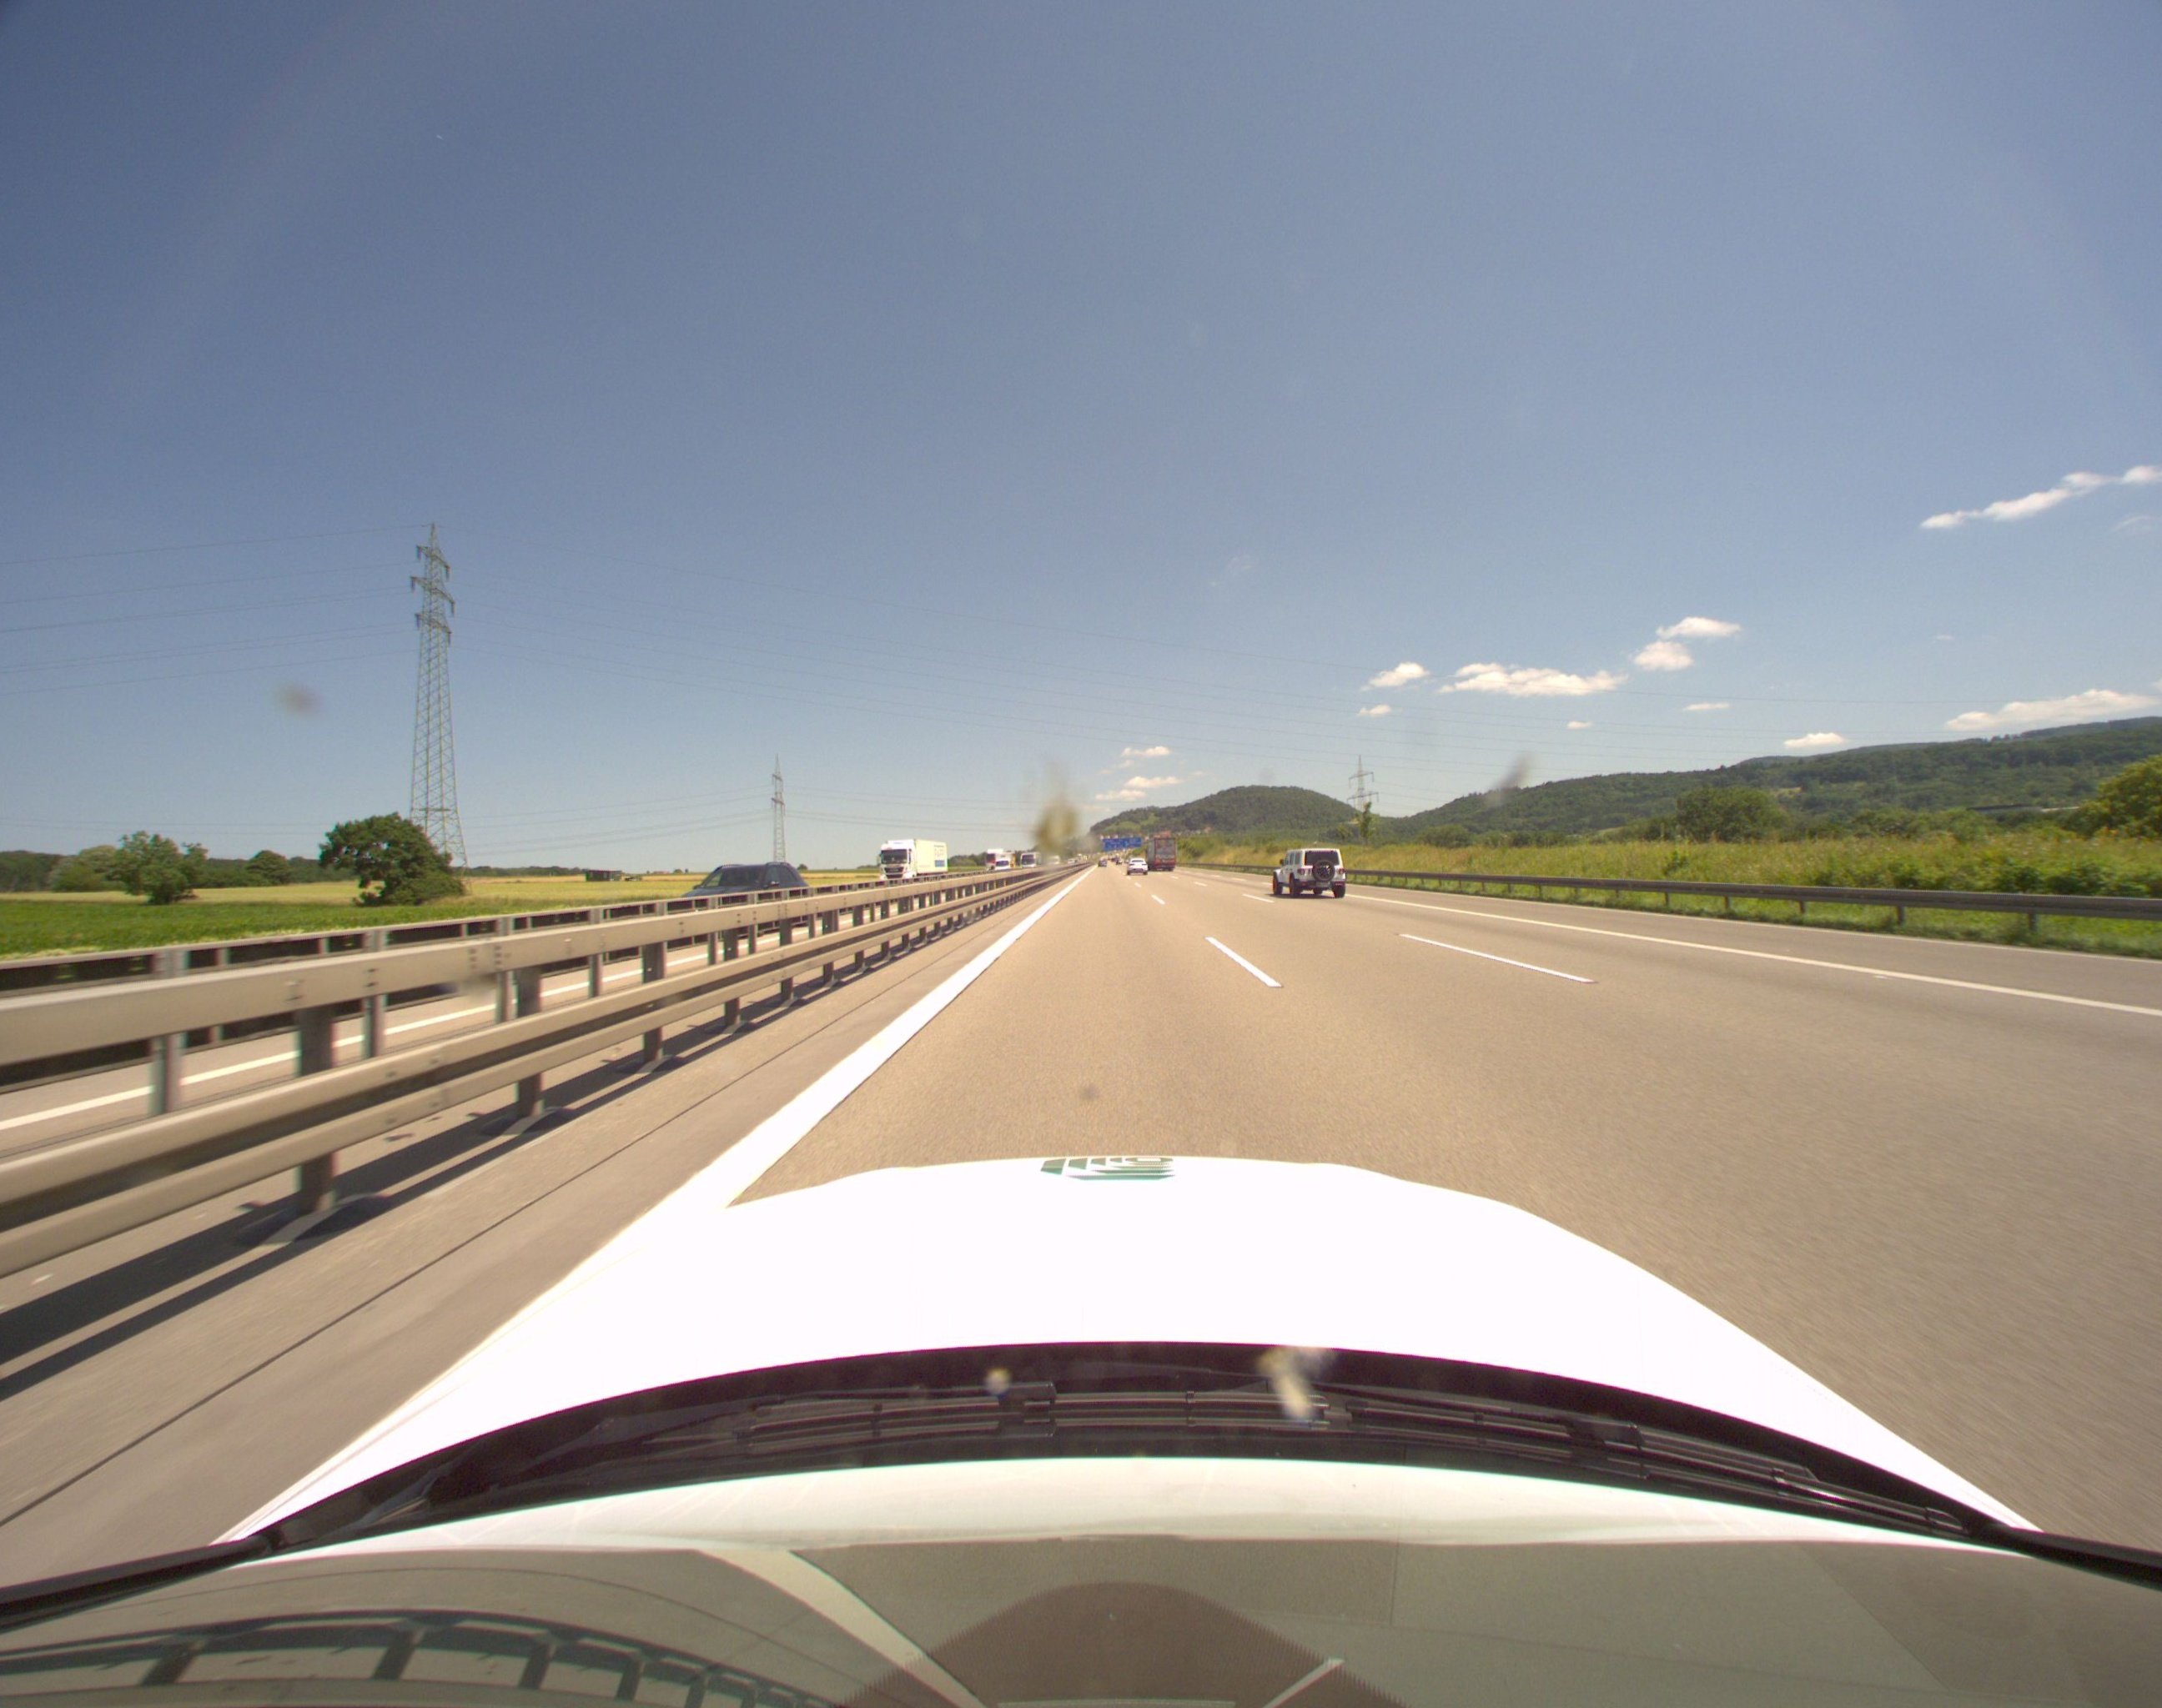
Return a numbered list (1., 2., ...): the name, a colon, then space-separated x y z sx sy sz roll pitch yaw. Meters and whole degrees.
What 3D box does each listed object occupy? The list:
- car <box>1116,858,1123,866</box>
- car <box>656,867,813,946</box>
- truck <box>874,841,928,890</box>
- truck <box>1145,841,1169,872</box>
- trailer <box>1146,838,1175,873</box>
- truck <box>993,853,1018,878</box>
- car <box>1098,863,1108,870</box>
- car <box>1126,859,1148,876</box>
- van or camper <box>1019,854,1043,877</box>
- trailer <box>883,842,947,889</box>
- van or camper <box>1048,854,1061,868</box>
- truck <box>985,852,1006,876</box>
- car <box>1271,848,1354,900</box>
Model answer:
1. car: 10.678 2.272 224.886 1.986 2.014 4.002 0 -1 2
2. car: -8.389 1.199 20.218 1.803 1.640 4.429 -3 -1 2
3. truck: -15.136 0.979 68.935 2.929 3.931 6.478 0 -1 1
4. truck: 10.186 0.373 109.639 2.742 4.021 6.789 0 -1 1
5. trailer: 10.039 0.270 103.380 2.715 4.155 11.809 0 -1 1
6. truck: -9.650 1.506 104.832 2.241 3.010 7.430 -3 -1 2
7. car: 4.351 2.490 161.170 1.986 1.389 4.002 0 -1 2
8. car: 5.373 1.343 79.153 1.907 1.581 5.231 0 -1 1
9. van or camper: -6.054 1.388 100.070 2.150 2.735 7.298 -3 -1 2
10. trailer: -15.001 1.072 74.853 2.947 3.918 12.896 0 -1 1
11. van or camper: -4.892 1.380 151.950 2.115 2.575 6.123 0 -1 2
12. truck: -13.487 1.633 128.266 2.709 3.690 6.054 0 -1 0
13. car: 8.885 0.739 31.690 2.027 1.804 4.250 -2 0 1
